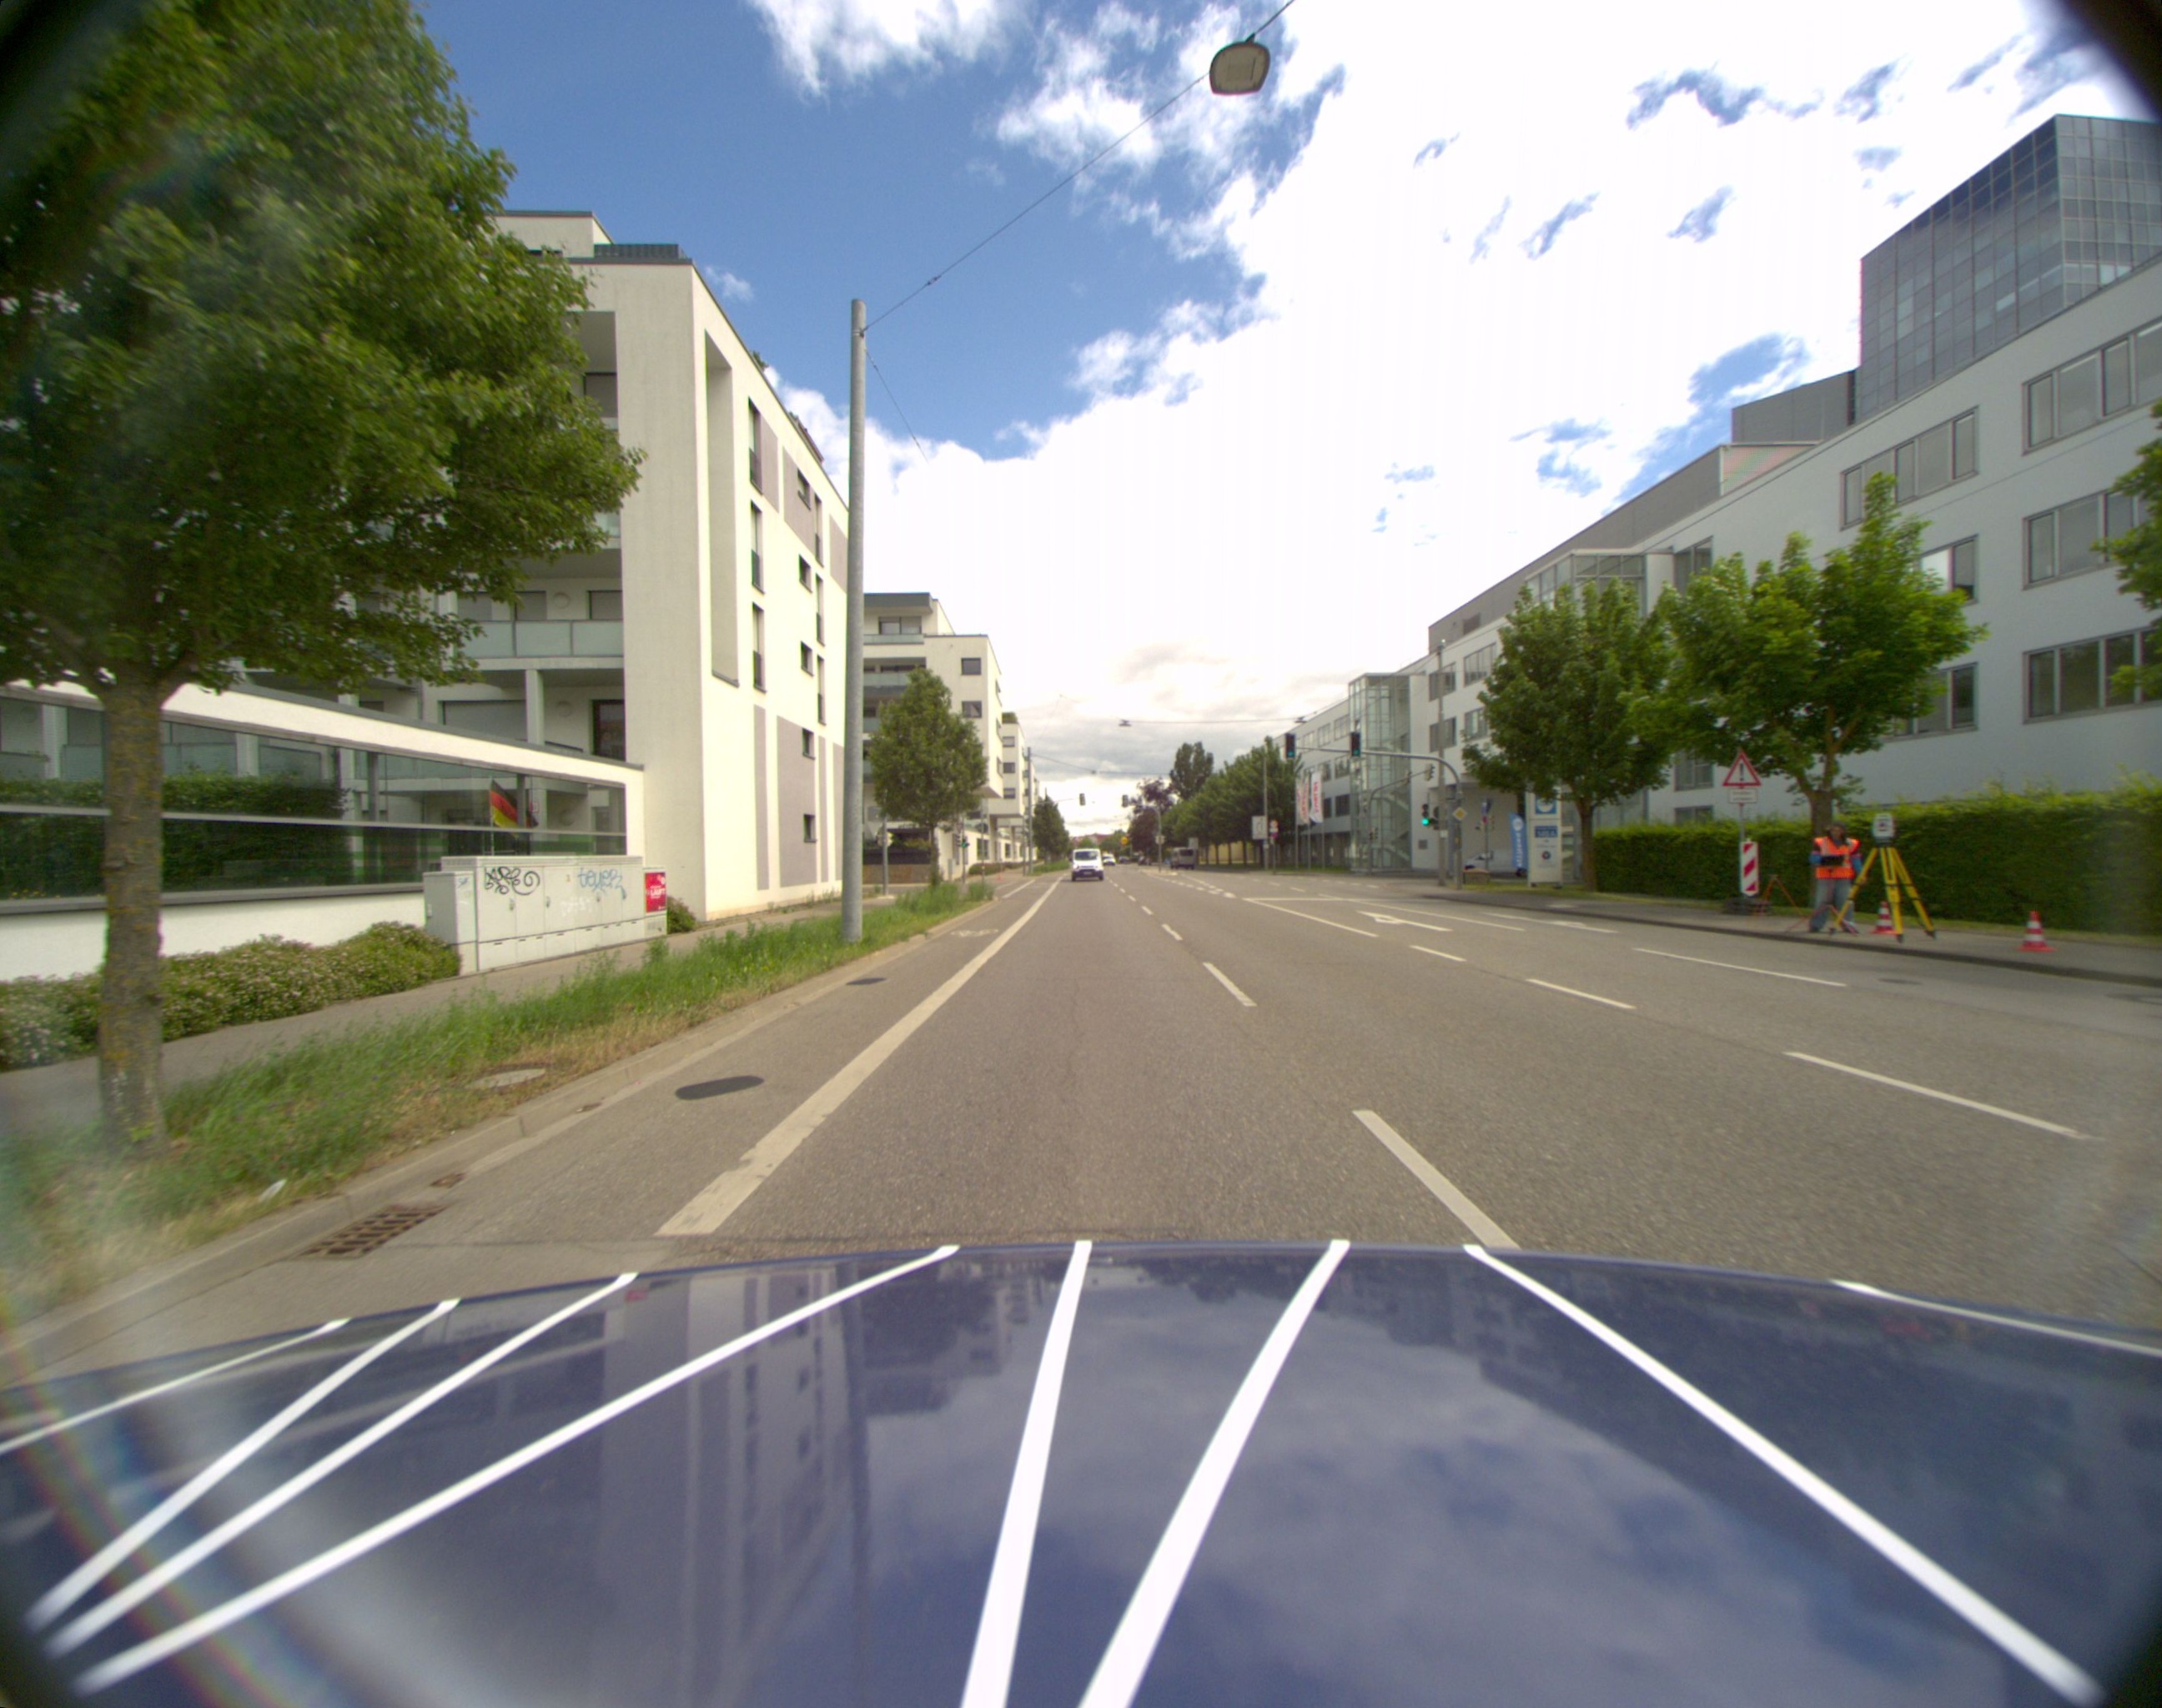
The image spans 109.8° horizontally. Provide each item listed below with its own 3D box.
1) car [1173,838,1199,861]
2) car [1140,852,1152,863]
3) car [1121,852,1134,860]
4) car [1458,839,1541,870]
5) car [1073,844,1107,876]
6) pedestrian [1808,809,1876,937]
[{"bbox_3d":[11.923,-0.507,86.676,2.148,2.457,6.072,0,1,1],"label":"car"},{"bbox_3d":[10.665,0.567,125.238,1.889,1.543,4.539,0,2,3],"label":"car"},{"bbox_3d":[8.920,0.295,146.859,2.029,1.437,5.048,1,1,-2],"label":"car"},{"bbox_3d":[28.980,-0.004,52.783,4.822,1.858,2.087,2,4,24],"label":"car"},{"bbox_3d":[0.549,0.327,49.523,1.999,1.906,3.998,-2,1,-2],"label":"car"},{"bbox_3d":[12.434,0.285,12.436,0.724,2.002,0.812,-1,2,43],"label":"pedestrian"}]
